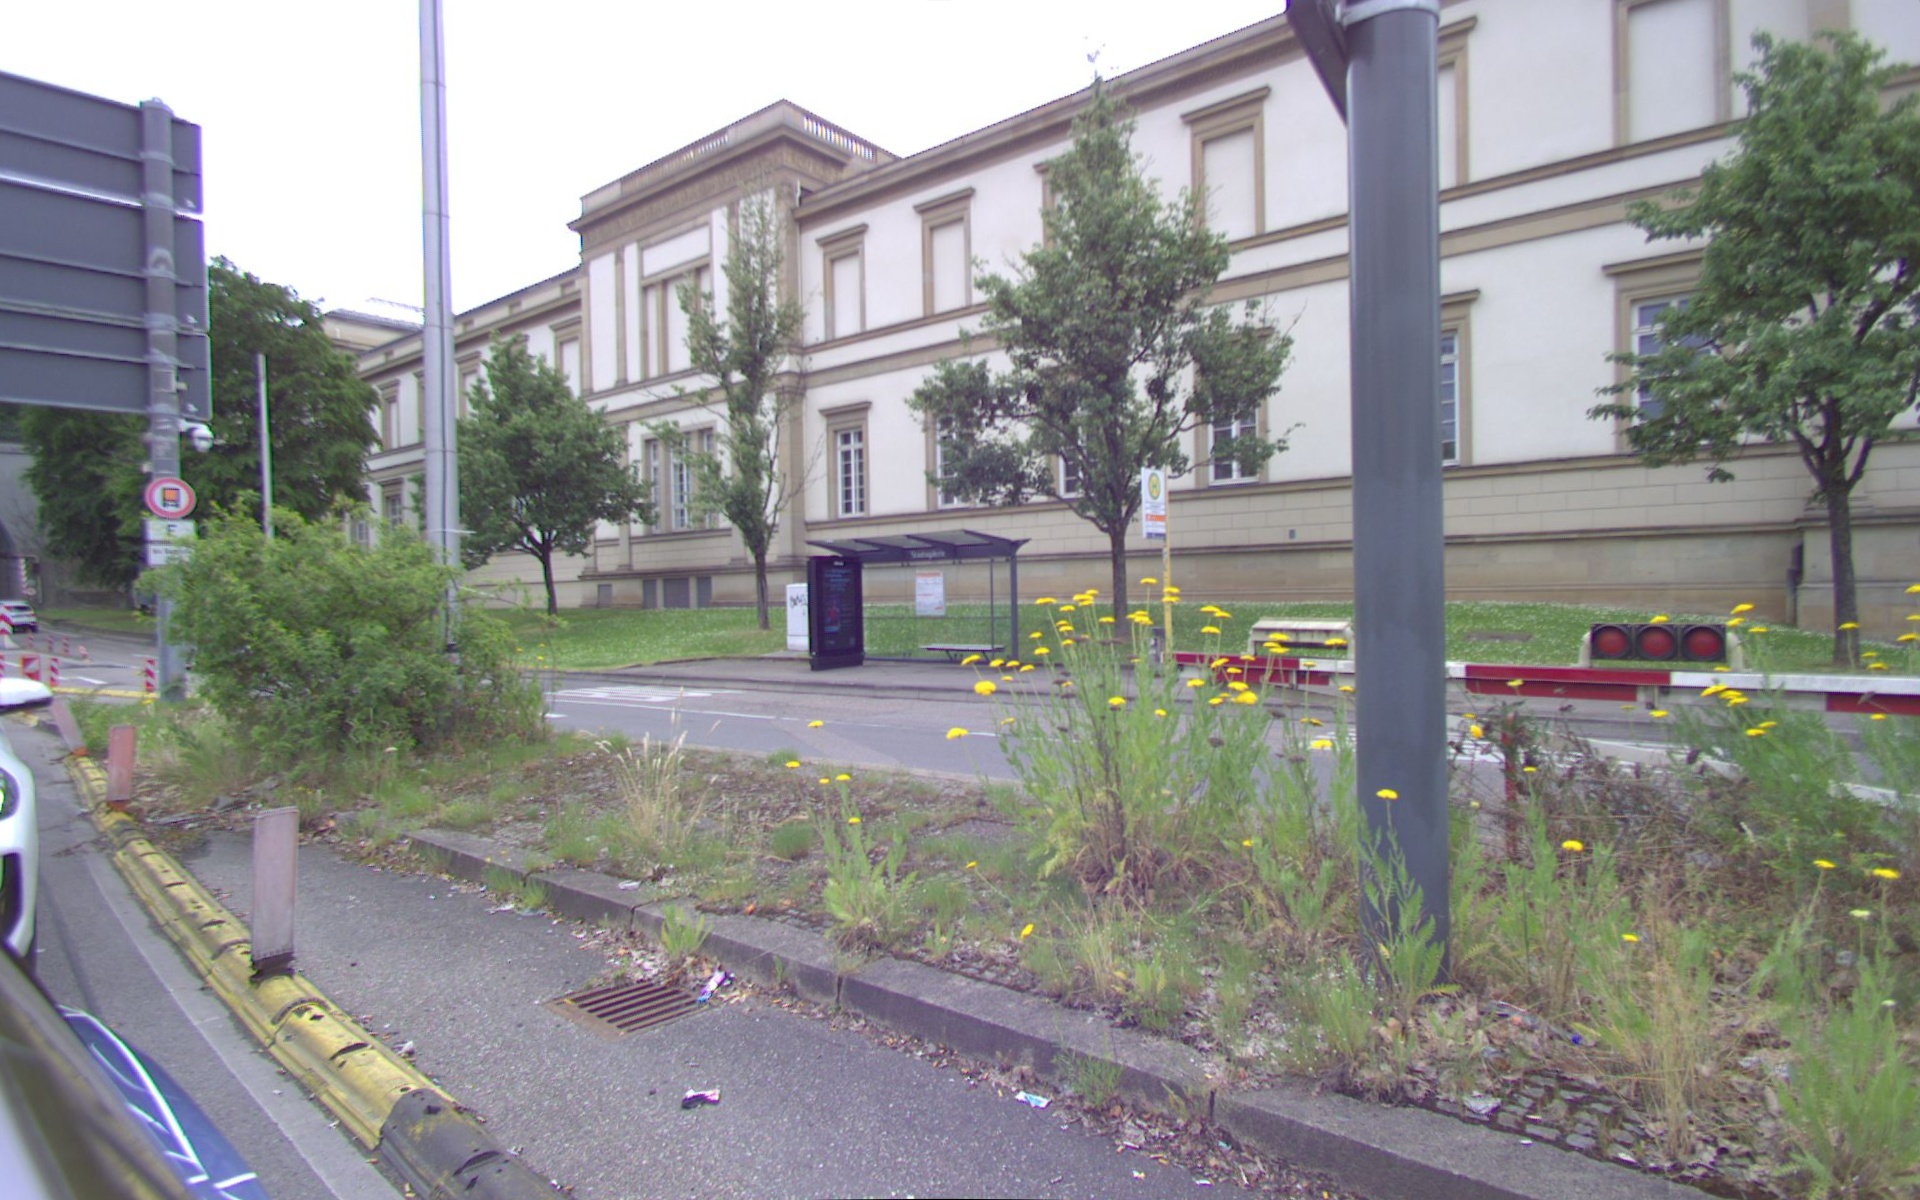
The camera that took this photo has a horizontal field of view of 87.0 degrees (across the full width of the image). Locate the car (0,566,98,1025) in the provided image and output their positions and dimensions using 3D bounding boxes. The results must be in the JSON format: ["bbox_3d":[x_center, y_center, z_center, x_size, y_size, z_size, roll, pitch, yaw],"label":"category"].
[{"bbox_3d":[-5.308,0.722,4.178,3.665,1.637,1.964,-1,0,38],"label":"car"}]

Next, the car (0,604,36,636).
[{"bbox_3d":[-51.545,1.111,55.045,1.876,1.637,4.111,-1,-1,-43],"label":"car"}]

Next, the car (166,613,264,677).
[{"bbox_3d":[-22.462,1.293,30.441,1.811,1.759,4.002,-1,0,-45],"label":"car"}]
